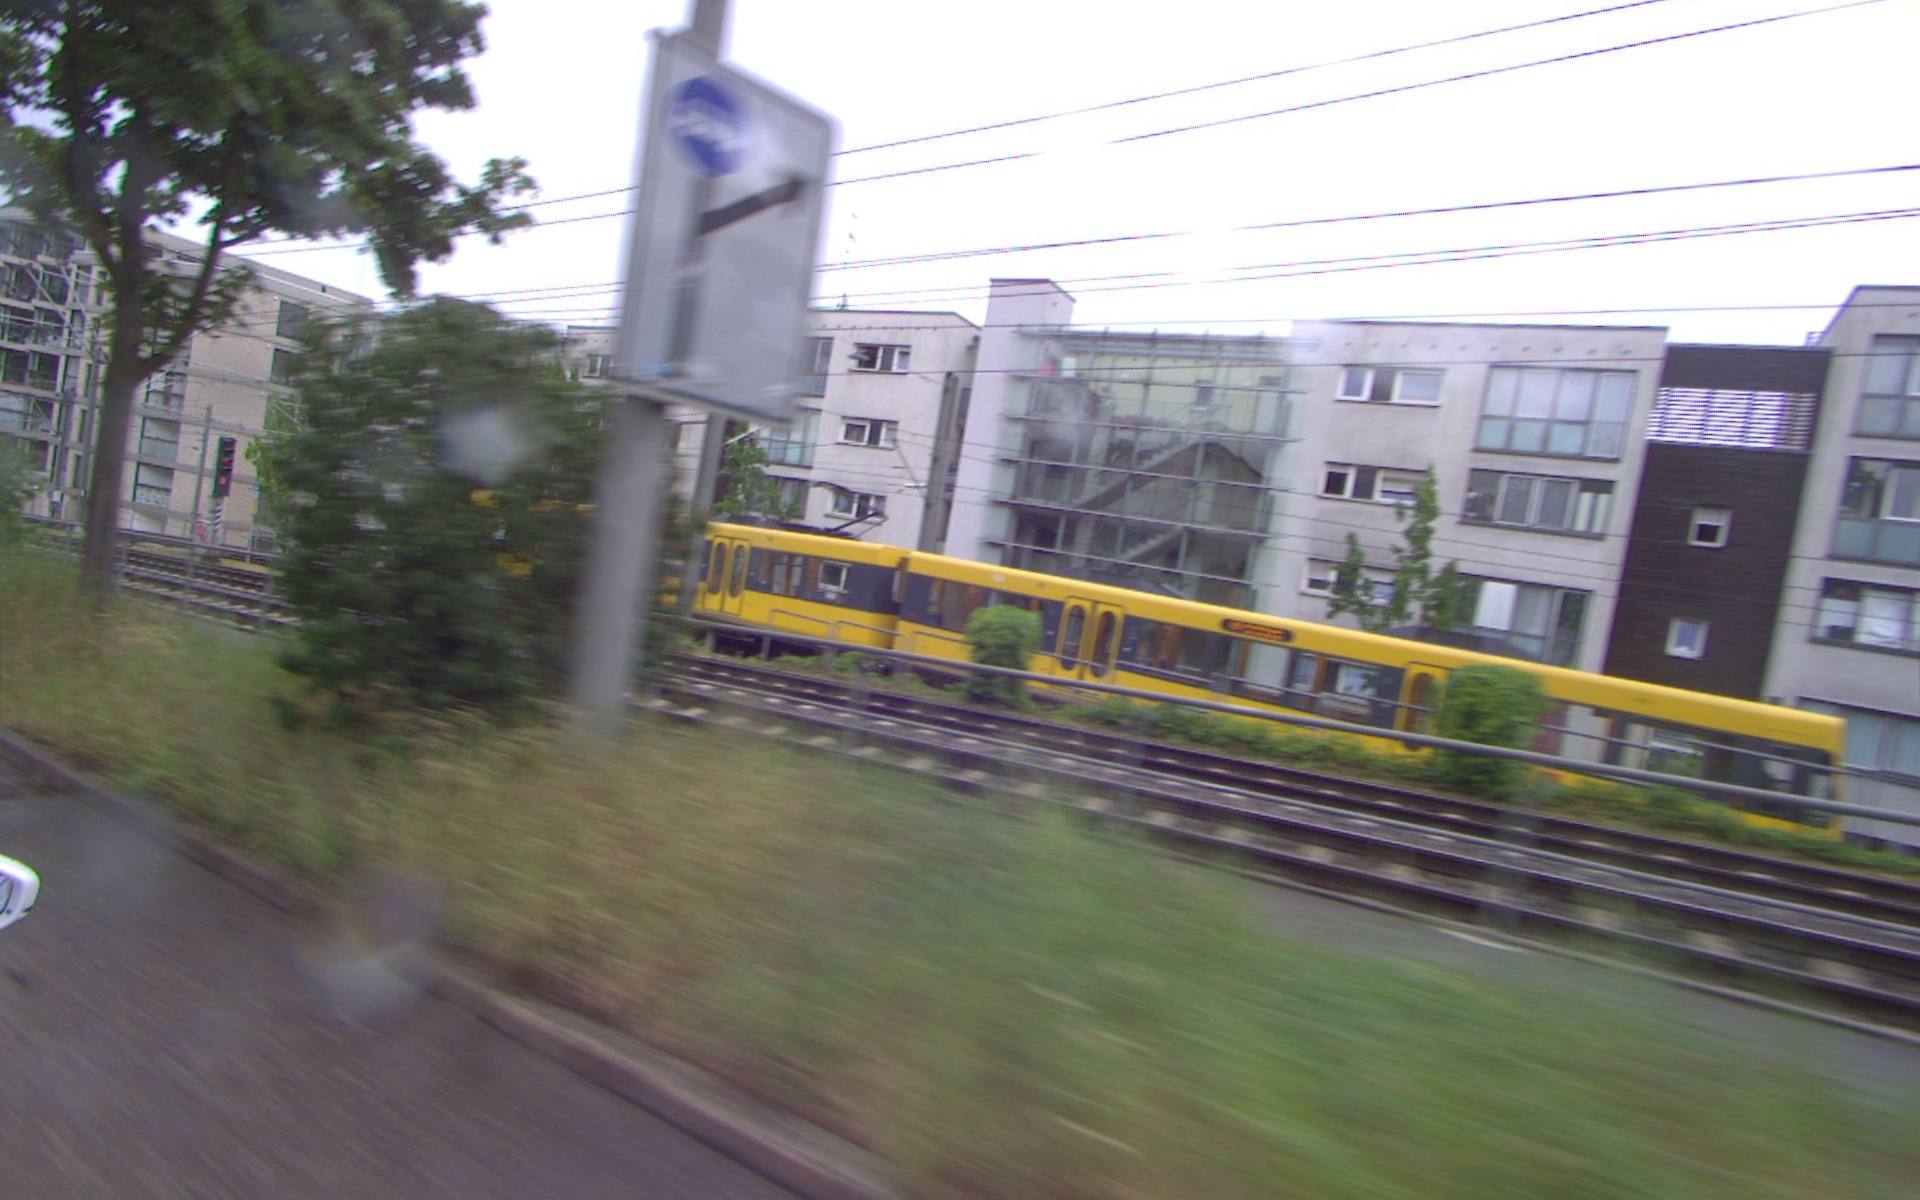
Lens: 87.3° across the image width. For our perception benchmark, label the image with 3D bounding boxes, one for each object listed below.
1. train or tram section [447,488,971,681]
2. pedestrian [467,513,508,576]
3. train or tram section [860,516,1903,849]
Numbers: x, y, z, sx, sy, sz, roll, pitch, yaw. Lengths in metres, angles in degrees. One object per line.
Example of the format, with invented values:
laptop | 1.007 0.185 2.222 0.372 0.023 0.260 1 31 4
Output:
train or tram section | -8.597 -0.798 30.897 18.501 3.994 3.336 6 -1 32
pedestrian | -15.254 -1.779 32.461 0.804 1.903 0.722 5 -1 32
train or tram section | 6.618 0.952 21.367 18.961 3.994 3.336 6 -1 32
